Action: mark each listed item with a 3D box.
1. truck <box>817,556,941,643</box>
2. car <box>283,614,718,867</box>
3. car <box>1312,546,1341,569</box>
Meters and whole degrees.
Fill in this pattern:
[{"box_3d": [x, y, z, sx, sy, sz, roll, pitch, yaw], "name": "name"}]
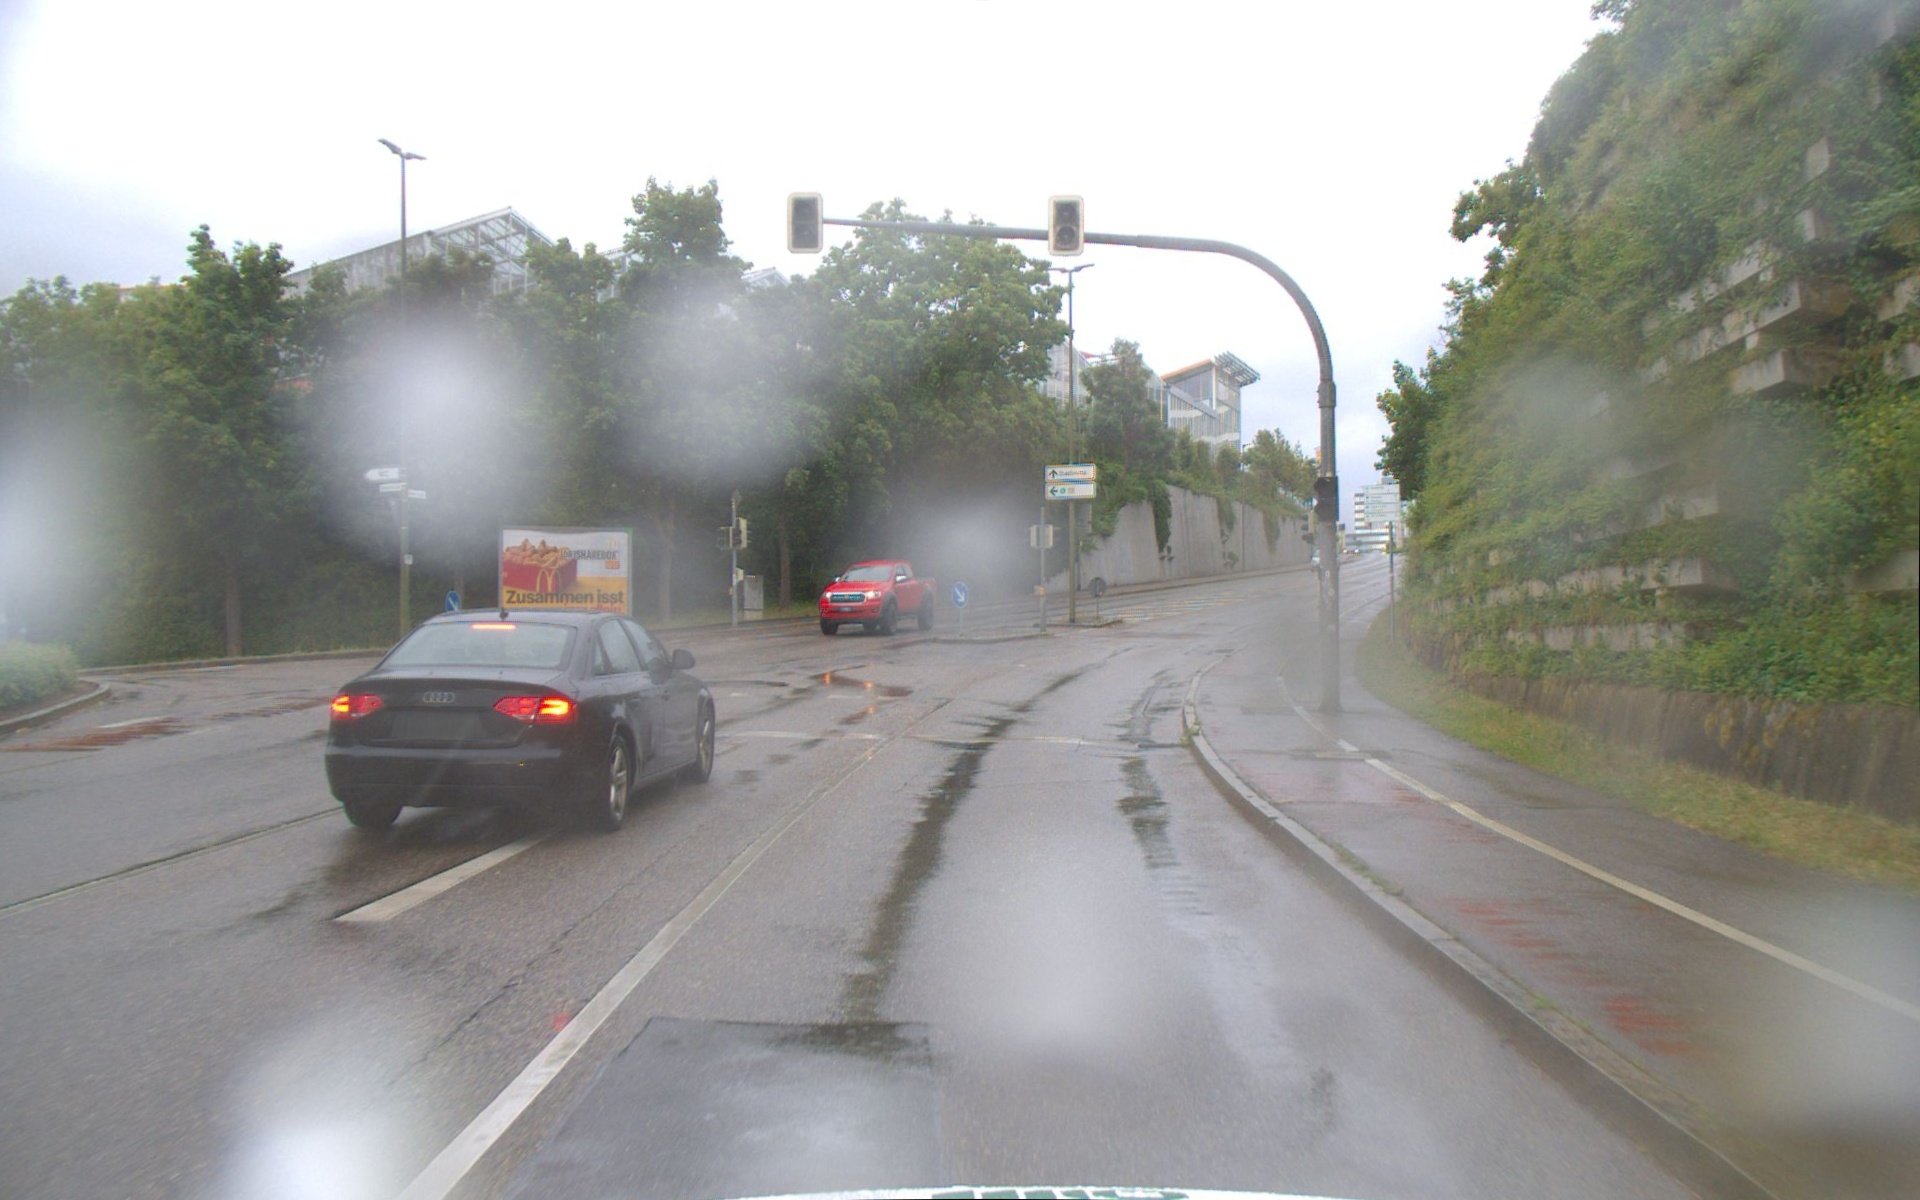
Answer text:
[{"box_3d": [-2.118, -0.076, 45.108, 1.951, 2.048, 5.344, 0, 3, 13], "name": "truck"}, {"box_3d": [-2.930, 0.819, 11.485, 1.718, 1.420, 4.001, 0, 0, 3], "name": "car"}, {"box_3d": [25.253, -2.913, 114.005, 1.480, 1.474, 3.819, 0, 0, 6], "name": "car"}]
